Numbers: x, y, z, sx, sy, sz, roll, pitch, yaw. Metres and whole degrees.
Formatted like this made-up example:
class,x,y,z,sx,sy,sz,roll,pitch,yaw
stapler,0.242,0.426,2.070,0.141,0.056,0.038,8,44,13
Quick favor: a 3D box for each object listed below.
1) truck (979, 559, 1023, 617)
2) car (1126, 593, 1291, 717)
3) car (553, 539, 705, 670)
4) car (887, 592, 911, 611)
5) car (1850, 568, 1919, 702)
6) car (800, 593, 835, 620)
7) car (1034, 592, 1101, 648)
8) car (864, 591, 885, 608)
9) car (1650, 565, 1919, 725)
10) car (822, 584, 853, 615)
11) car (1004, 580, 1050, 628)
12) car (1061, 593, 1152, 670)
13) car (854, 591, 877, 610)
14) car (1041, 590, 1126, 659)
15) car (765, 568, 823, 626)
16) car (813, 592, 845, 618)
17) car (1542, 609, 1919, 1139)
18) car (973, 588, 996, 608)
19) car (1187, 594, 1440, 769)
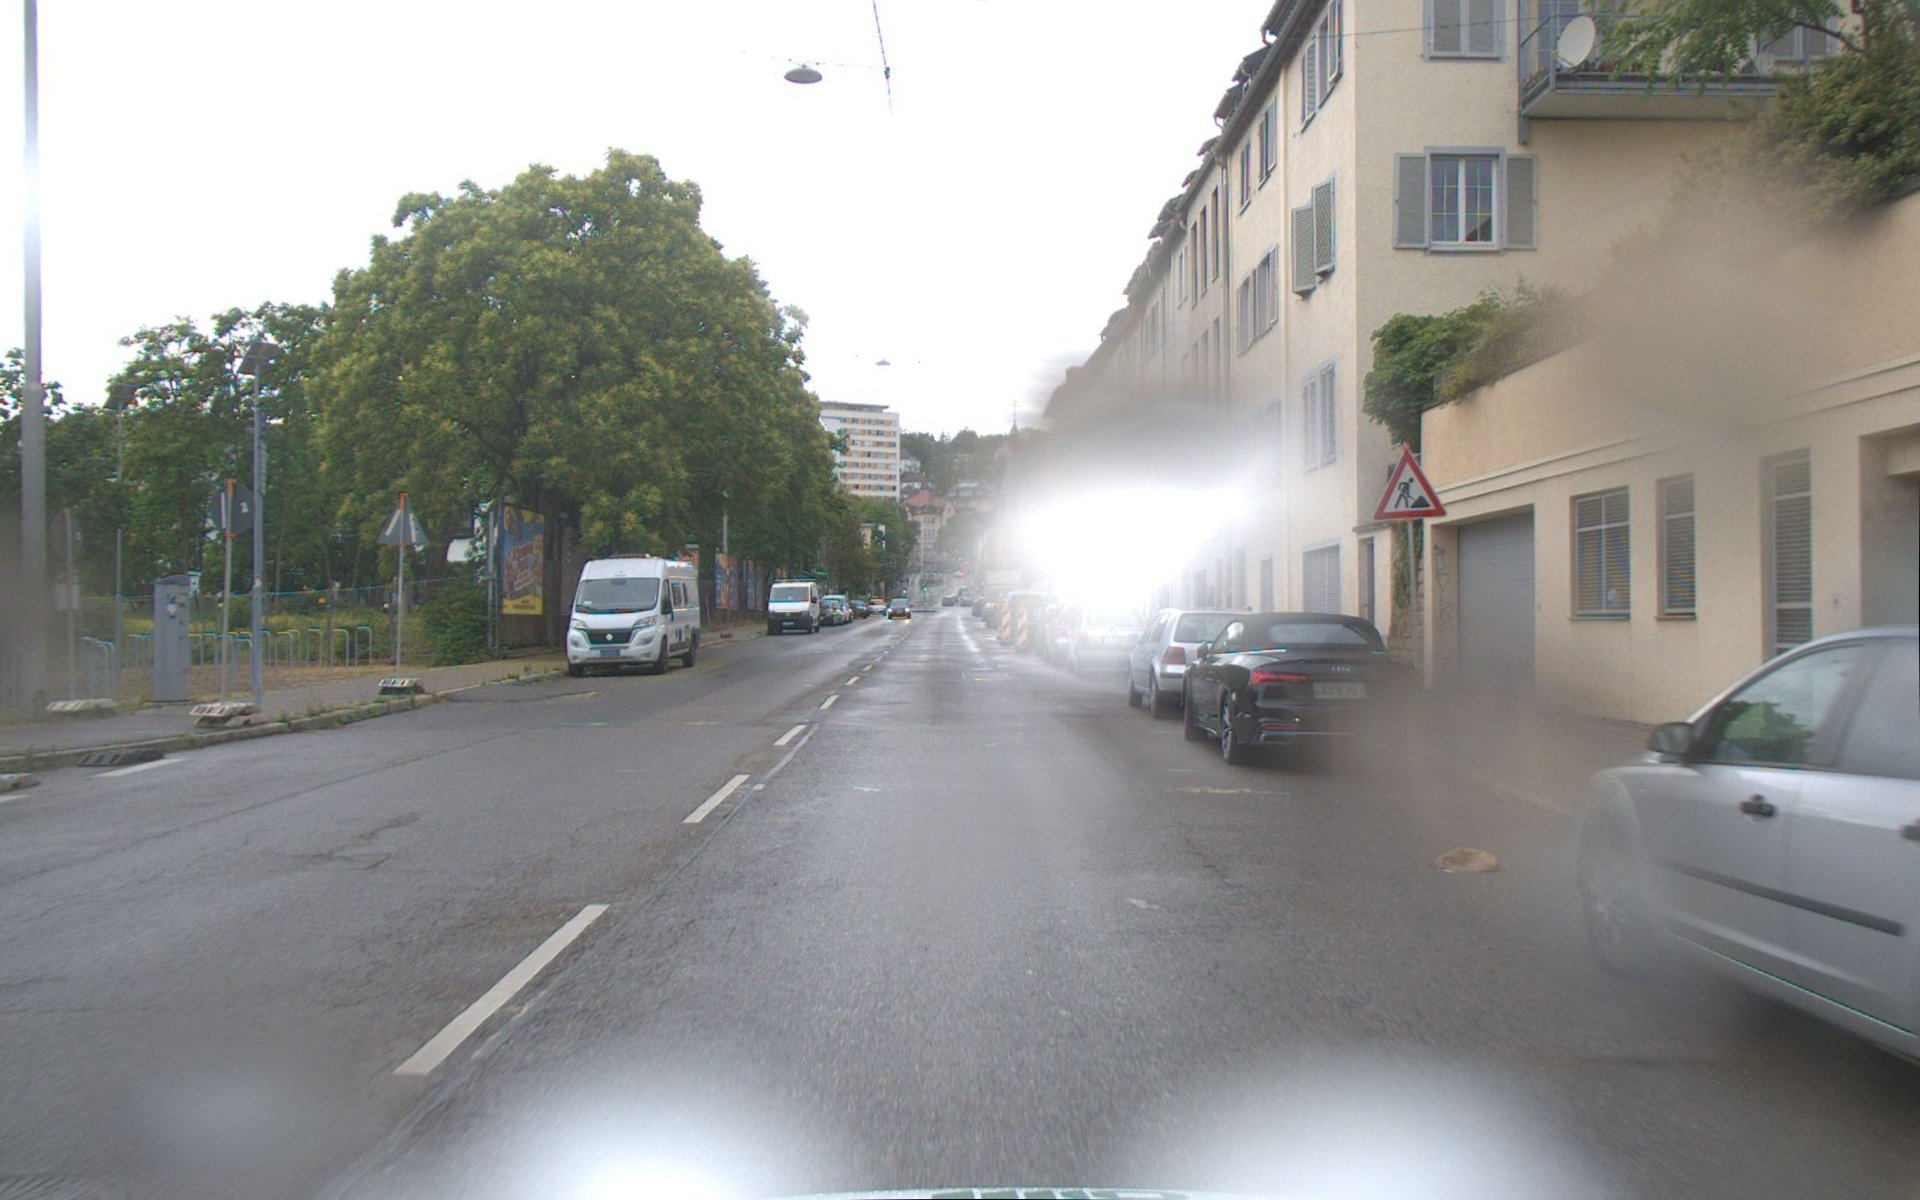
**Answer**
class,x,y,z,sx,sy,sz,roll,pitch,yaw
truck,2.334,-0.668,96.296,2.419,3.228,7.035,0,0,0
car,3.324,0.689,22.730,1.596,1.479,3.759,1,1,-1
car,-7.291,0.058,37.239,2.185,2.624,6.536,-2,1,-1
car,-4.769,0.121,128.093,1.769,1.440,4.381,0,0,-3
car,11.196,0.387,16.823,1.849,1.425,4.201,0,0,-3
car,-7.820,0.371,91.064,1.648,1.423,3.909,-1,0,-1
car,2.965,0.533,46.252,1.593,1.435,3.842,1,1,0
car,-7.623,-0.050,147.534,1.675,1.476,4.293,-1,0,-1
car,8.940,0.400,16.884,1.849,1.425,4.201,0,0,-3
car,-7.687,-0.022,104.183,1.688,1.831,4.343,-1,0,-1
car,2.807,0.155,70.128,1.780,1.957,4.239,-1,0,0
car,3.086,0.638,35.511,1.527,1.479,3.759,1,1,-1
car,-7.542,0.014,132.330,1.767,1.476,4.655,-1,0,-3
car,2.992,0.561,40.680,1.681,1.551,3.999,1,1,-1
car,-7.582,-0.169,76.067,1.970,2.530,5.983,-1,1,0
car,-7.753,0.305,98.162,1.648,1.488,4.276,-1,0,-2
car,3.580,0.819,5.574,1.654,1.479,4.234,1,0,-1
car,2.109,-0.164,142.070,1.780,1.681,4.075,1,0,-1
car,3.334,0.718,16.261,1.596,1.479,3.758,1,0,-1
